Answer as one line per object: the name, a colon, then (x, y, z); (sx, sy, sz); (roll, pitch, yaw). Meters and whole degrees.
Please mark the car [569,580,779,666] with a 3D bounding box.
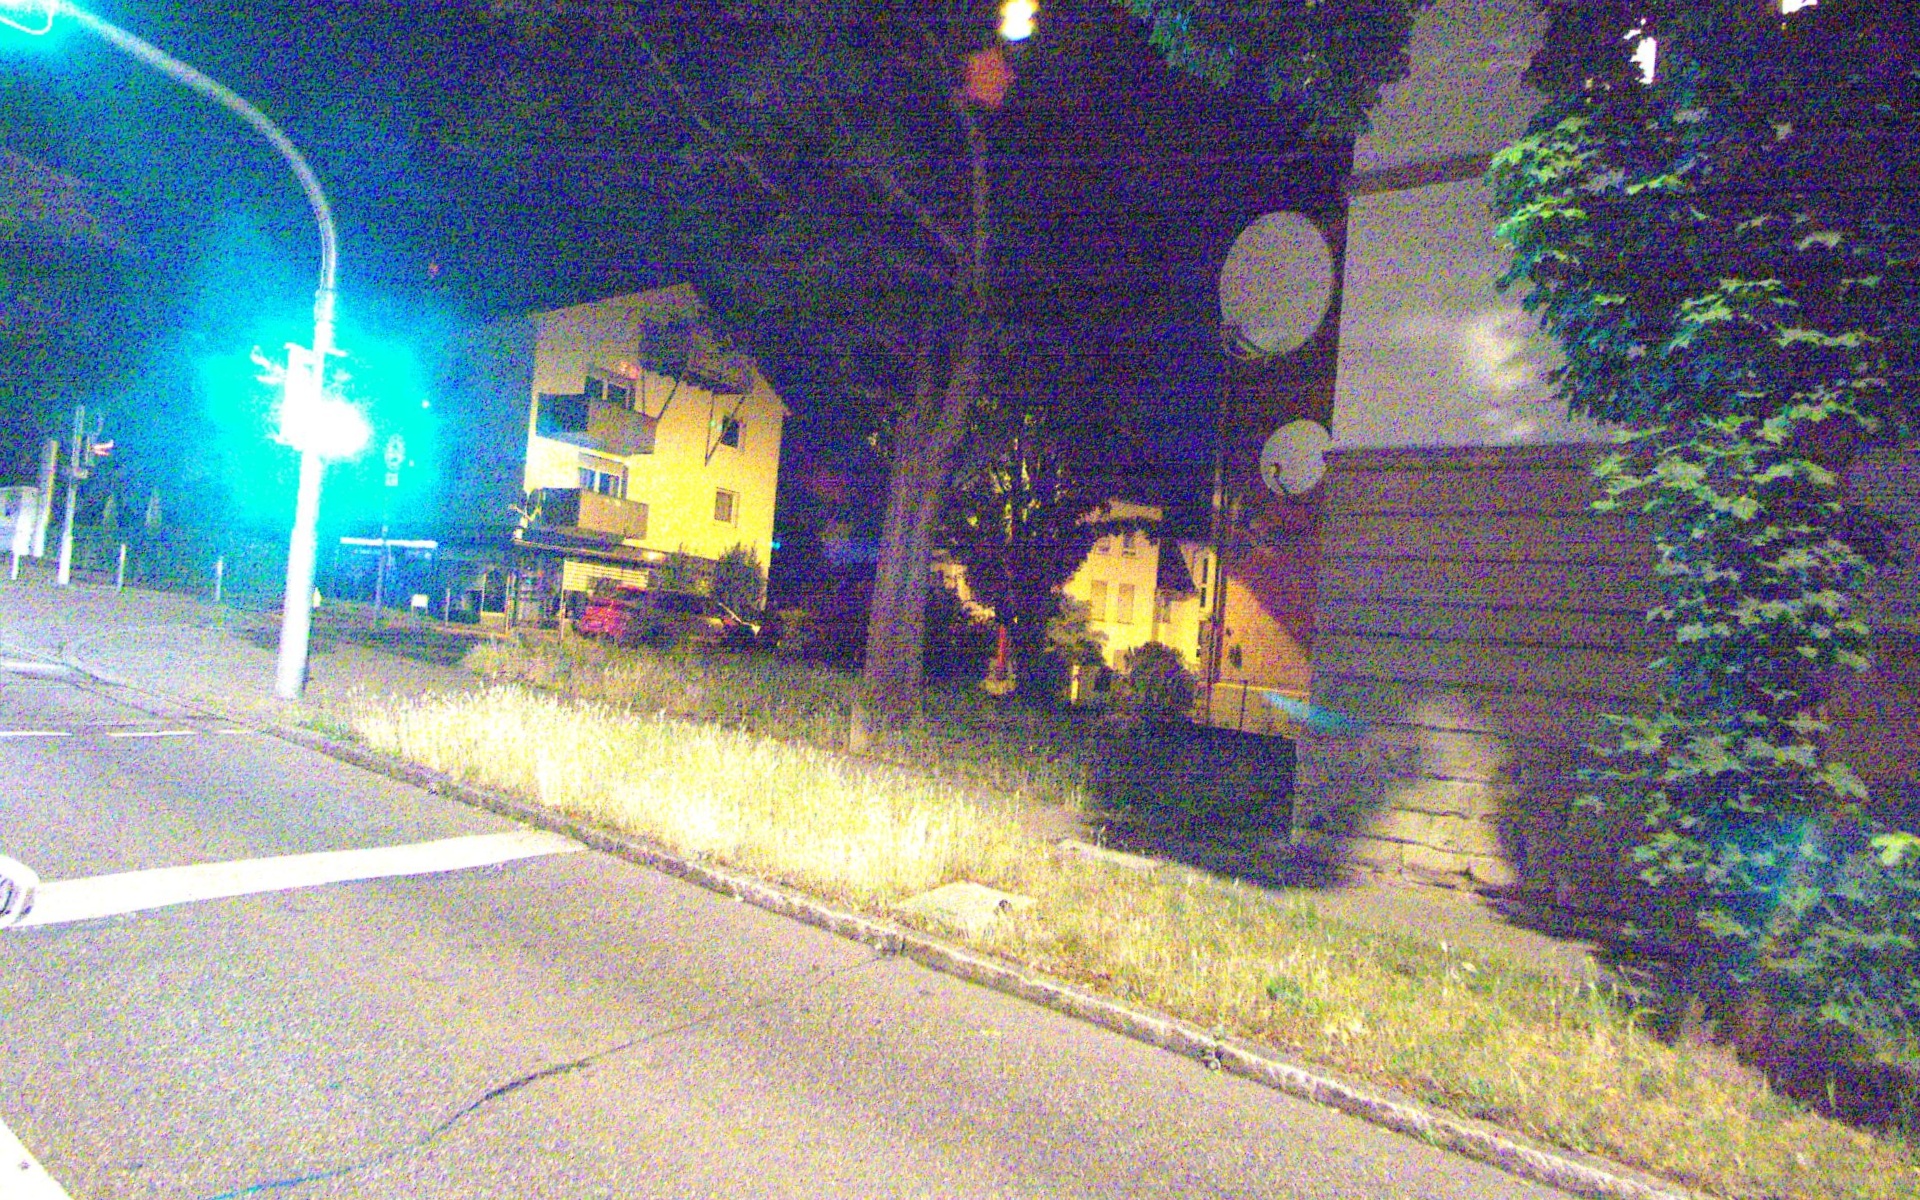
car: (-6.498, 0.585, 23.289); (1.778, 1.577, 4.366); (3, -3, 38)
